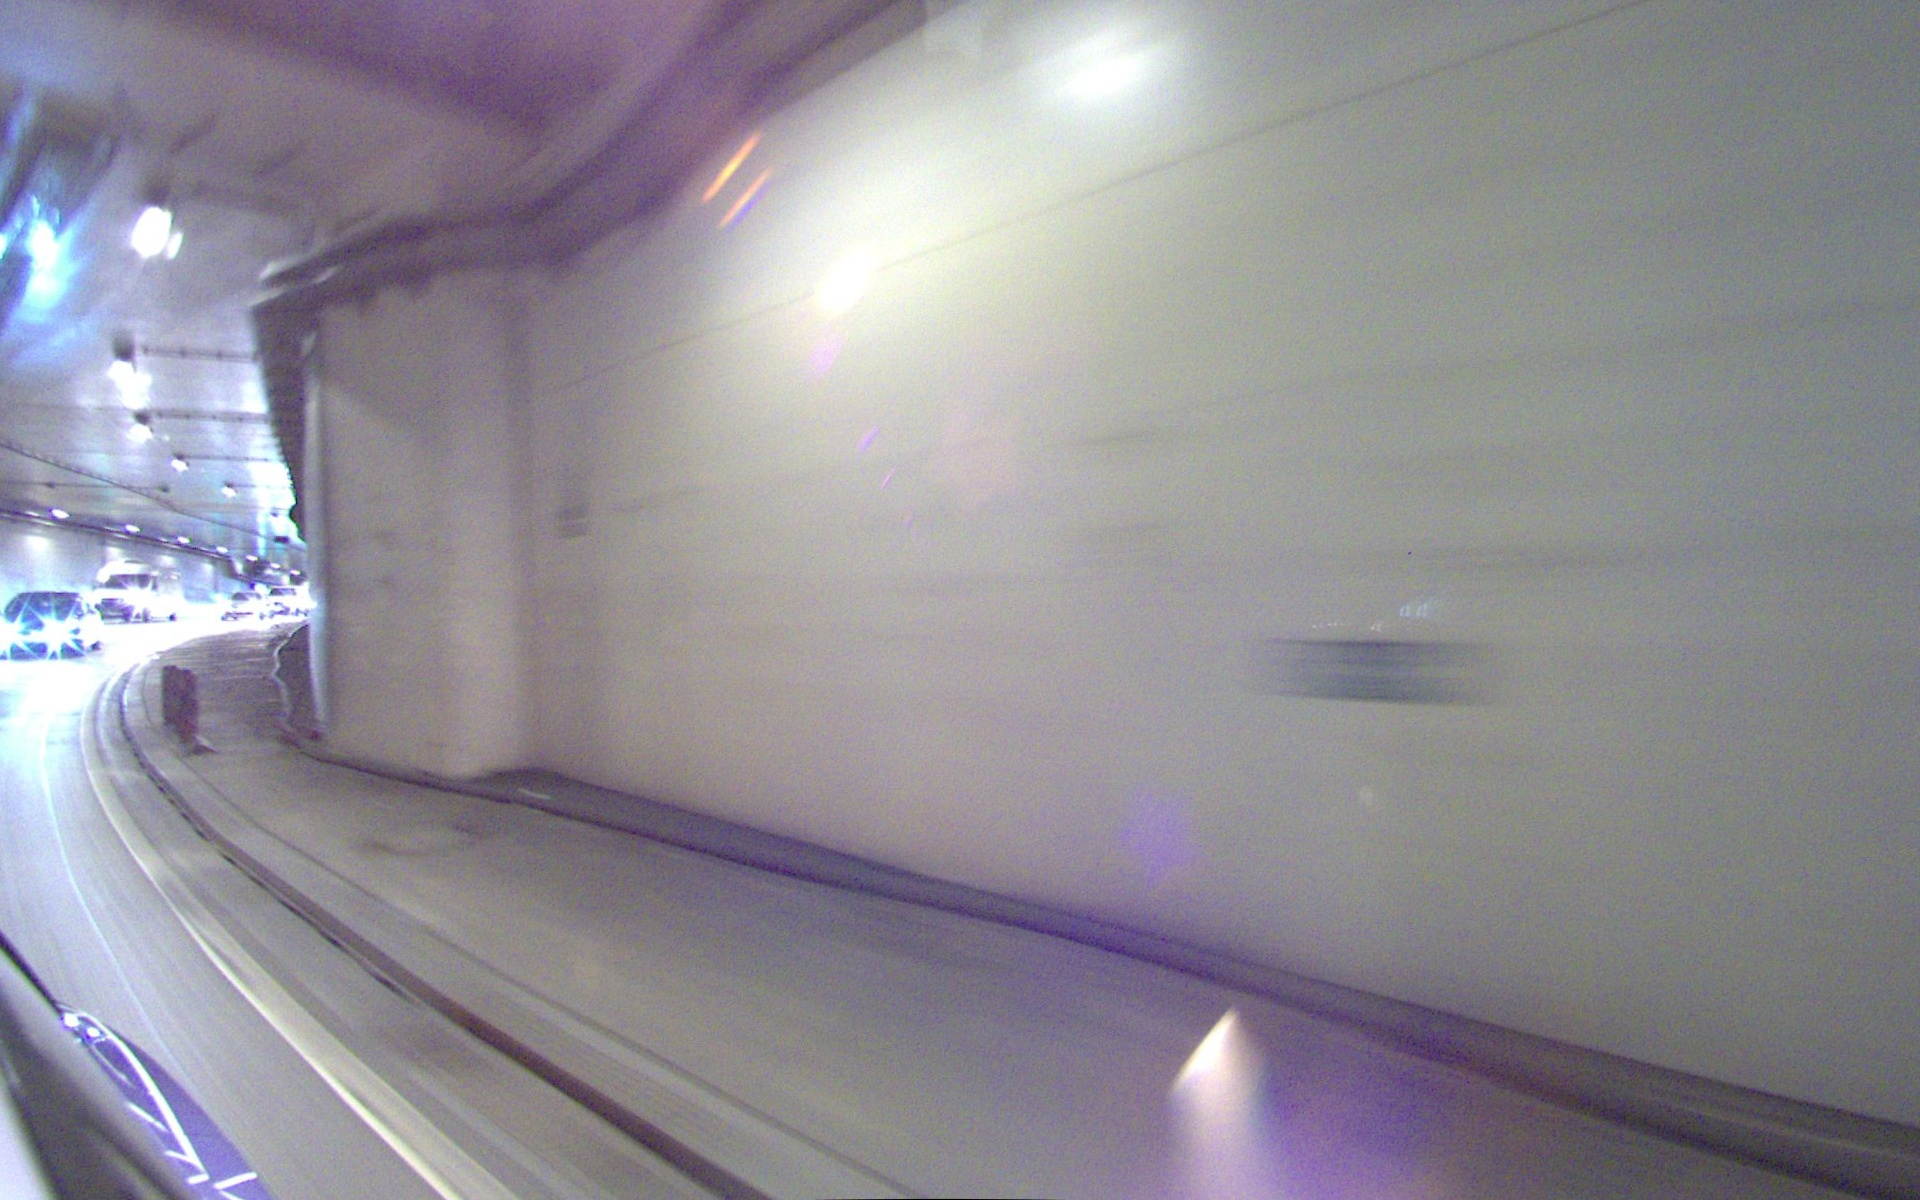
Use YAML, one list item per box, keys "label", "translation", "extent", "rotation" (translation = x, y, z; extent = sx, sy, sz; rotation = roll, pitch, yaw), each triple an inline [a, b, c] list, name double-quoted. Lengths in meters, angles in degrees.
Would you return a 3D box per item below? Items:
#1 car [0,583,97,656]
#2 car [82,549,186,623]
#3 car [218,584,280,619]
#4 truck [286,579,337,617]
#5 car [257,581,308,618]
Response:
- label: "car"
  translation: [-21.785, 0.408, 24.142]
  extent: [1.614, 1.573, 3.724]
  rotation: [0, 1, -37]
- label: "car"
  translation: [-36.879, -0.522, 45.407]
  extent: [2.072, 2.869, 6.882]
  rotation: [0, -3, -26]
- label: "car"
  translation: [-35.162, 0.077, 50.137]
  extent: [1.735, 1.572, 3.831]
  rotation: [-3, 1, -24]
- label: "truck"
  translation: [-47.834, -0.218, 74.725]
  extent: [2.040, 2.558, 6.044]
  rotation: [-3, 2, -23]
- label: "car"
  translation: [-41.127, 0.025, 61.528]
  extent: [1.903, 1.944, 4.210]
  rotation: [-2, -3, -25]
